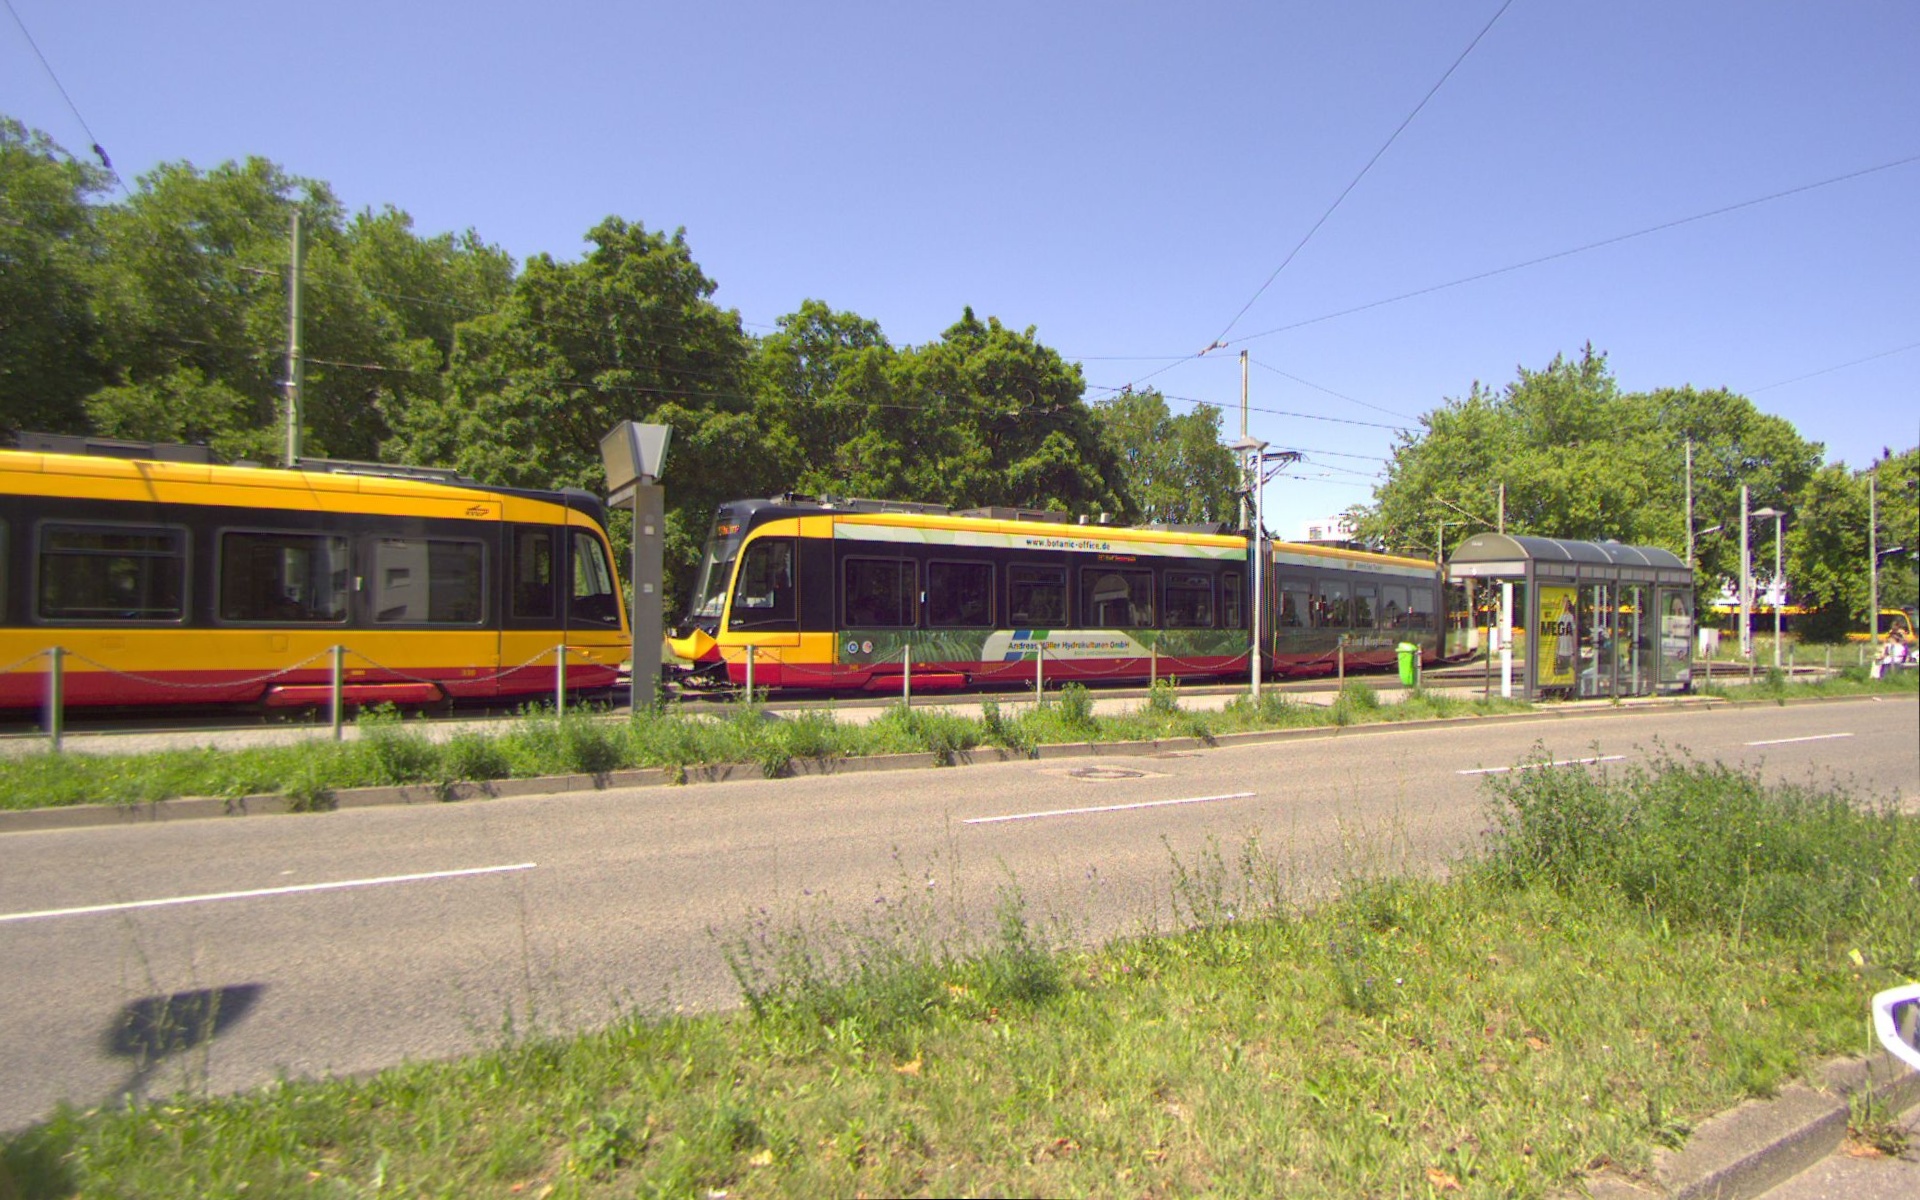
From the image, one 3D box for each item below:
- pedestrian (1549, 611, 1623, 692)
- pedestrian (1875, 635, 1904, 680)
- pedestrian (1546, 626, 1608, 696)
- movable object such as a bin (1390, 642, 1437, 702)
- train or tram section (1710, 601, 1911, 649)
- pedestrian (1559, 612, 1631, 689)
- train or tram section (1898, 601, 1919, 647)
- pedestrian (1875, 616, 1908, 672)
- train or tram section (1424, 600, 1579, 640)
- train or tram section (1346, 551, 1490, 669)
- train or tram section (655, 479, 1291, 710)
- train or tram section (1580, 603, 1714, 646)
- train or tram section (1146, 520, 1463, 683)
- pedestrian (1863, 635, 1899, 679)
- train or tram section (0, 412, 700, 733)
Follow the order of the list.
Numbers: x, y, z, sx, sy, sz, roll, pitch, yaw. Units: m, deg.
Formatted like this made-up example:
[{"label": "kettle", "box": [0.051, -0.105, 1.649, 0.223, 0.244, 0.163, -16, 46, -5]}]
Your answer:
[{"label": "pedestrian", "box": [12.603, 1.013, 20.237, 1.014, 1.567, 0.869, 1, 1, -31]}, {"label": "pedestrian", "box": [26.191, 1.613, 28.300, 0.396, 1.205, 0.491, 1, 1, -32]}, {"label": "pedestrian", "box": [11.933, 1.165, 19.417, 0.830, 1.300, 0.697, 1, 1, -31]}, {"label": "movable object such as a bin", "box": [7.828, 1.234, 17.329, 0.638, 0.991, 0.478, 1, -1, -33]}, {"label": "train or tram section", "box": [71.324, 1.961, 84.751, 3.016, 3.512, 12.625, 1, 1, -35]}, {"label": "pedestrian", "box": [13.507, 1.052, 21.364, 0.974, 1.567, 0.925, 1, 1, -31]}, {"label": "train or tram section", "box": [73.346, 1.839, 72.398, 2.985, 3.512, 12.753, 1, 1, 17]}, {"label": "pedestrian", "box": [26.882, 1.261, 28.985, 0.576, 1.586, 0.532, 1, 1, -31]}, {"label": "train or tram section", "box": [52.923, 1.914, 98.618, 12.996, 3.512, 3.048, 1, 1, 12]}, {"label": "train or tram section", "box": [17.381, 0.308, 37.420, 3.001, 3.673, 12.418, 2, 1, 33]}, {"label": "train or tram section", "box": [0.998, -0.014, 20.912, 13.740, 3.673, 3.027, 1, 1, -32]}, {"label": "train or tram section", "box": [63.758, 2.205, 93.376, 10.062, 3.512, 3.034, 2, 1, 38]}, {"label": "train or tram section", "box": [10.140, 0.067, 28.101, 12.366, 3.673, 3.014, 1, 1, -44]}, {"label": "pedestrian", "box": [25.754, 1.588, 28.090, 0.530, 1.205, 0.578, 1, 1, -30]}, {"label": "train or tram section", "box": [-10.602, -0.319, 14.158, 13.101, 3.817, 3.030, 1, 1, -29]}]
